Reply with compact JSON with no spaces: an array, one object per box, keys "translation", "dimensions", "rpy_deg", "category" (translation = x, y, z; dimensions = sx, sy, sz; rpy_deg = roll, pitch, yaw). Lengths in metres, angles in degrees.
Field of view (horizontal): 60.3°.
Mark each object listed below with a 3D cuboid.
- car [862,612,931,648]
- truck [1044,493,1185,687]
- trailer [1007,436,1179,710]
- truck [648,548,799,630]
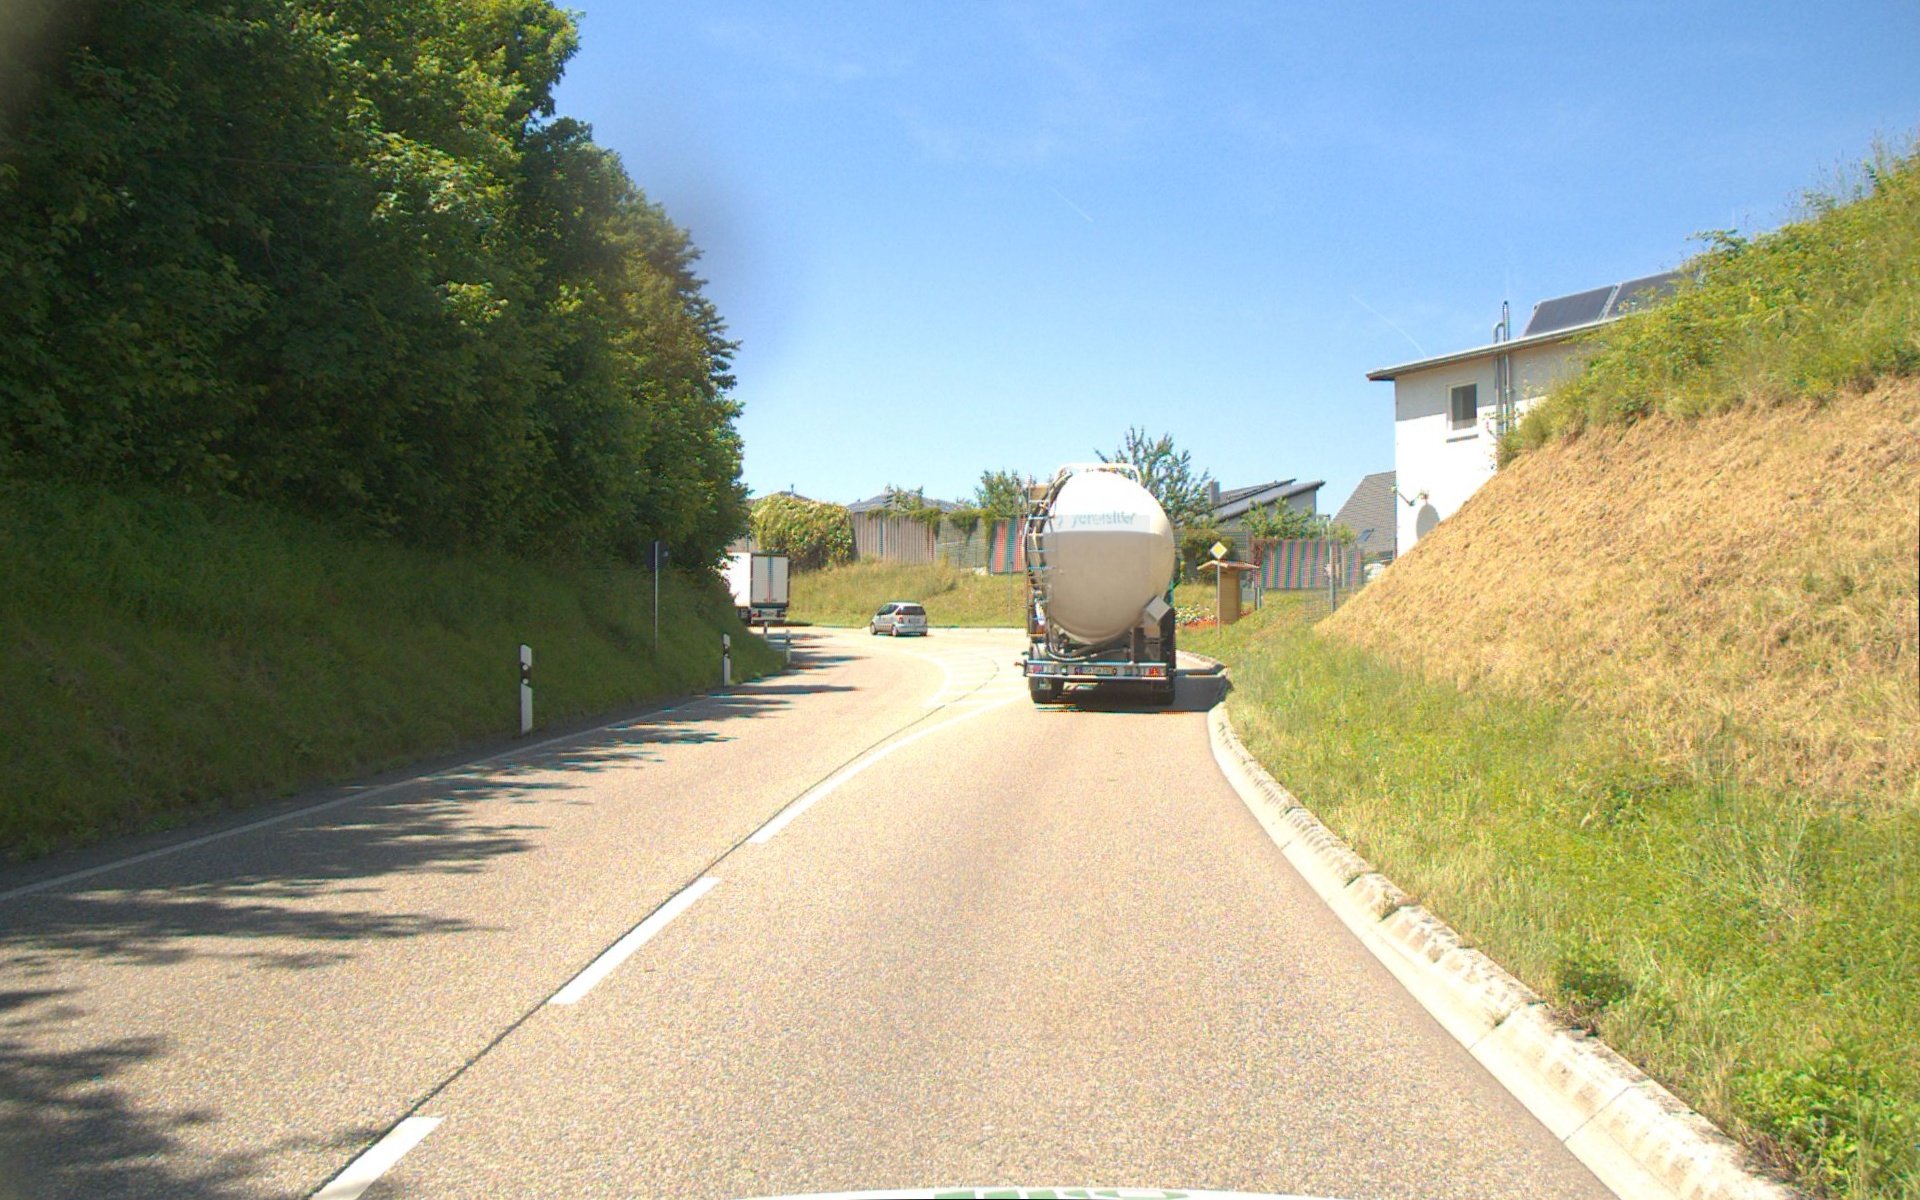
[{"translation":[-2.993,1.403,77.744],"dimensions":[1.631,1.536,3.599],"rpy_deg":[4,-2,-31],"category":"car"},{"translation":[3.697,-0.120,38.023],"dimensions":[2.669,3.999,7.268],"rpy_deg":[0,-1,10],"category":"truck"},{"translation":[2.861,-0.342,31.806],"dimensions":[2.604,4.262,11.912],"rpy_deg":[1,-1,8],"category":"trailer"},{"translation":[-13.938,-0.736,96.255],"dimensions":[3.168,4.385,11.640],"rpy_deg":[4,-1,-38],"category":"truck"}]
